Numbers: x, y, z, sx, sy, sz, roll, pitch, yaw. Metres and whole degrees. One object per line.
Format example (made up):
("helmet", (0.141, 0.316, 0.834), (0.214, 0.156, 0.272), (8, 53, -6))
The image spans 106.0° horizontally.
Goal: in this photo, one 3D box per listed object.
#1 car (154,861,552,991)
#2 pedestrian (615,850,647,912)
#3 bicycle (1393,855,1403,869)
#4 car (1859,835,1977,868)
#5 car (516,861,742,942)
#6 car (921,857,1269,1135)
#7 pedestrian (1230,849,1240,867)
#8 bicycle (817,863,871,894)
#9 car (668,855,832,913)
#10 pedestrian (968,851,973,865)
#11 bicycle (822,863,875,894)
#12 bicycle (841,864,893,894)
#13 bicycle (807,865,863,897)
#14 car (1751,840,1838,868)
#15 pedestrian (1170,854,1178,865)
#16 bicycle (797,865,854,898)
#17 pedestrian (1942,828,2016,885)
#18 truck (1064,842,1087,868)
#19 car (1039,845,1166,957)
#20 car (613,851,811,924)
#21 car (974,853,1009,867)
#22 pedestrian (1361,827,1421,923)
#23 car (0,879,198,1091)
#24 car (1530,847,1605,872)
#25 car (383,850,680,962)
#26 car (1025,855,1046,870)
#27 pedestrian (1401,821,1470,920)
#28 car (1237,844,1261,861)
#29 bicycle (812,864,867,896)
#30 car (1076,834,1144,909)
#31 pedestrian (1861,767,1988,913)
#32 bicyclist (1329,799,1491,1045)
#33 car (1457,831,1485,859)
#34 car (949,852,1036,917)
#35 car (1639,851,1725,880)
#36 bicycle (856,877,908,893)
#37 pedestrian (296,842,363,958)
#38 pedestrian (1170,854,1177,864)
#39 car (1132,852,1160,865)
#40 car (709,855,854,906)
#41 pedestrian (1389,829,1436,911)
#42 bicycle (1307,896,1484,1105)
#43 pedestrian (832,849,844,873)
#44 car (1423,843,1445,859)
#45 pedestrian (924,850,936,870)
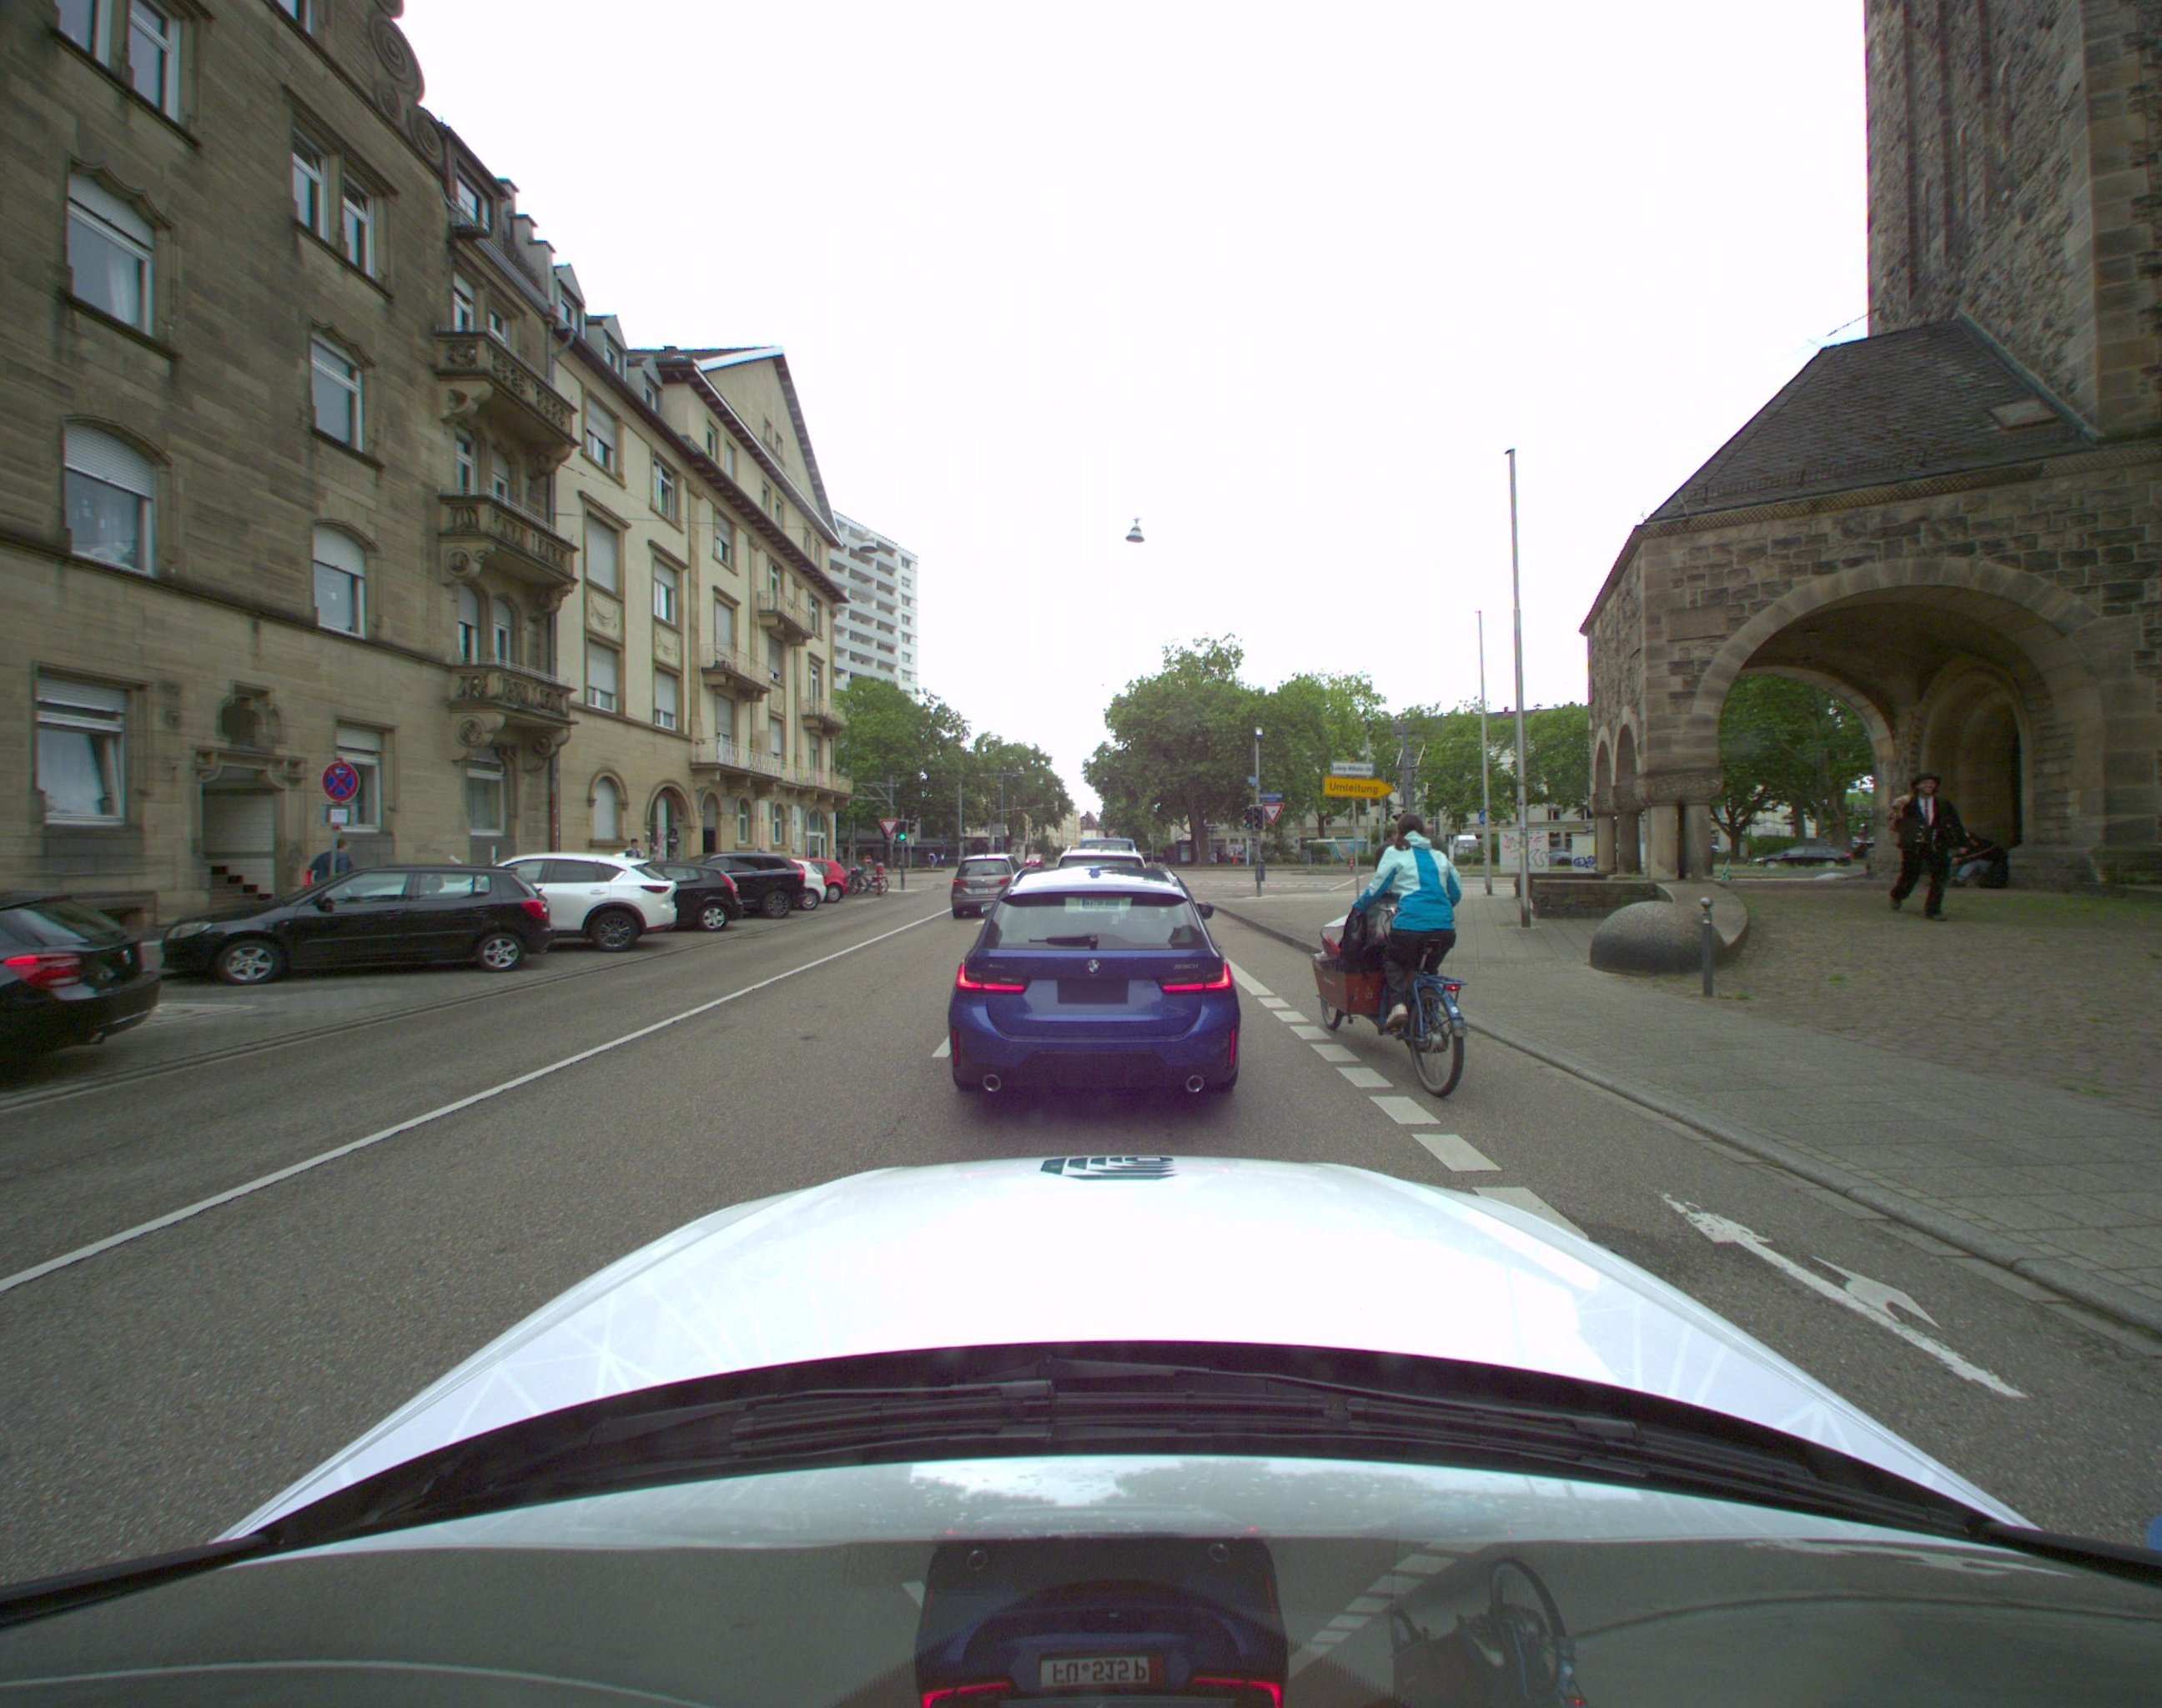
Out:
("car", (-9.629, 0.869, 11.199), (3.830, 1.497, 1.552), (1, -1, -37))
("pedestrian", (-13.024, 0.773, 23.589), (0.564, 1.785, 0.551), (-1, 0, 3))
("bicycle", (22.268, 0.559, 57.253), (0.546, 0.995, 2.072), (-1, 0, 24))
("car", (55.524, -0.152, 54.152), (5.025, 2.096, 2.004), (-1, -1, 24))
("car", (-9.479, 0.913, 17.208), (4.017, 1.494, 1.713), (0, 0, -36))
("car", (0.142, 0.759, 6.456), (1.808, 1.405, 4.322), (-1, 0, 2))
("pedestrian", (15.100, 0.376, 79.858), (0.781, 1.743, 0.925), (-1, 0, 0))
("bicycle", (-9.149, 0.951, 31.525), (1.880, 1.035, 0.442), (5, 0, -1))
("car", (-9.358, 0.824, 23.201), (4.021, 1.472, 1.546), (2, 0, -41))
("pedestrian", (-13.845, 0.528, 101.922), (0.571, 1.771, 0.513), (-1, 0, -11))
("bicycle", (-9.165, 0.969, 32.161), (1.880, 1.035, 0.442), (5, 0, -1))
("bicycle", (-8.586, 0.996, 32.696), (1.880, 1.035, 0.442), (5, 0, -1))
("bicycle", (-9.154, 0.990, 30.327), (1.880, 1.035, 0.442), (5, 0, -1))
("car", (41.110, 0.015, 46.995), (3.425, 1.561, 1.697), (-1, 0, 24))
("pedestrian", (11.784, 0.669, 103.008), (0.850, 1.314, 0.763), (-1, 0, 1))
("bicycle", (-9.269, 0.991, 29.513), (1.877, 1.035, 0.443), (4, 0, 4))
("pedestrian", (15.543, 0.041, 14.114), (0.665, 0.951, 0.618), (-1, 0, 24))
("truck", (-0.538, 0.052, 79.236), (2.068, 2.408, 5.461), (-2, 0, 0))
("car", (0.378, 0.673, 13.756), (1.808, 1.592, 4.002), (-1, 0, 2))
("car", (-9.217, 0.771, 20.531), (4.248, 1.652, 1.711), (0, 0, -41))
("car", (-11.529, 0.803, 104.994), (4.014, 1.706, 1.980), (0, -1, -32))
("pedestrian", (5.709, 0.378, 15.026), (0.672, 1.686, 0.969), (-3, 0, 2))
("car", (-9.110, 0.908, 5.462), (4.016, 1.417, 1.644), (1, -1, -34))
("car", (31.046, 0.353, 52.102), (3.940, 1.561, 1.697), (-1, 0, 24))
("car", (-9.279, 0.797, 14.199), (4.004, 1.723, 1.827), (0, 0, -23))
("car", (-4.379, 0.797, 78.343), (1.643, 1.447, 3.512), (-1, 0, 2))
("pedestrian", (6.650, 0.301, 15.318), (0.801, 1.758, 0.969), (-3, 0, 1))
("car", (22.115, -0.191, 107.074), (2.154, 2.200, 4.024), (-1, 0, 26))
("bicycle", (-9.152, 0.973, 30.863), (1.880, 1.035, 0.442), (5, 0, -1))
("car", (0.845, 0.460, 24.020), (1.808, 2.005, 4.002), (-1, 0, 2))
("pedestrian", (11.005, -0.193, 10.670), (0.806, 1.808, 1.026), (-1, 3, 22))
("bicyclist", (2.211, 0.423, 5.604), (0.683, 1.517, 1.059), (-1, 0, 2))
("car", (39.005, -0.896, 81.353), (2.214, 2.639, 5.480), (-1, 0, 28))
("car", (-2.231, 0.732, 21.487), (1.726, 1.525, 4.002), (-1, 0, 2))
("car", (36.645, 0.700, 49.764), (3.901, 1.711, 1.697), (-1, -1, 24))
("bicycle", (-8.222, 1.287, 33.727), (1.880, 0.445, 1.029), (5, 2, -1))
("pedestrian", (-12.990, 0.775, 14.084), (0.616, 1.958, 0.551), (-1, 0, 2))
("pedestrian", (11.841, 0.637, 103.908), (0.814, 1.372, 0.763), (-1, 0, 1))
("car", (9.205, 0.622, 115.804), (3.865, 1.741, 1.763), (-1, 0, 4))
("car", (-9.497, 0.810, 26.040), (1.663, 1.472, 4.024), (1, 0, 43))
("pedestrian", (7.022, 0.326, 17.283), (0.629, 1.673, 0.971), (-3, 0, 8))
("bicycle", (2.143, 0.914, 5.846), (0.492, 1.098, 2.139), (-1, 0, 2))
("pedestrian", (-18.674, 0.526, 62.682), (0.672, 1.771, 0.726), (-1, 0, 1))
("car", (34.874, -0.302, 80.402), (1.649, 1.515, 3.962), (-1, 0, 28))
("pedestrian", (-13.465, 0.536, 72.529), (0.668, 1.771, 0.730), (-1, 0, 43))
